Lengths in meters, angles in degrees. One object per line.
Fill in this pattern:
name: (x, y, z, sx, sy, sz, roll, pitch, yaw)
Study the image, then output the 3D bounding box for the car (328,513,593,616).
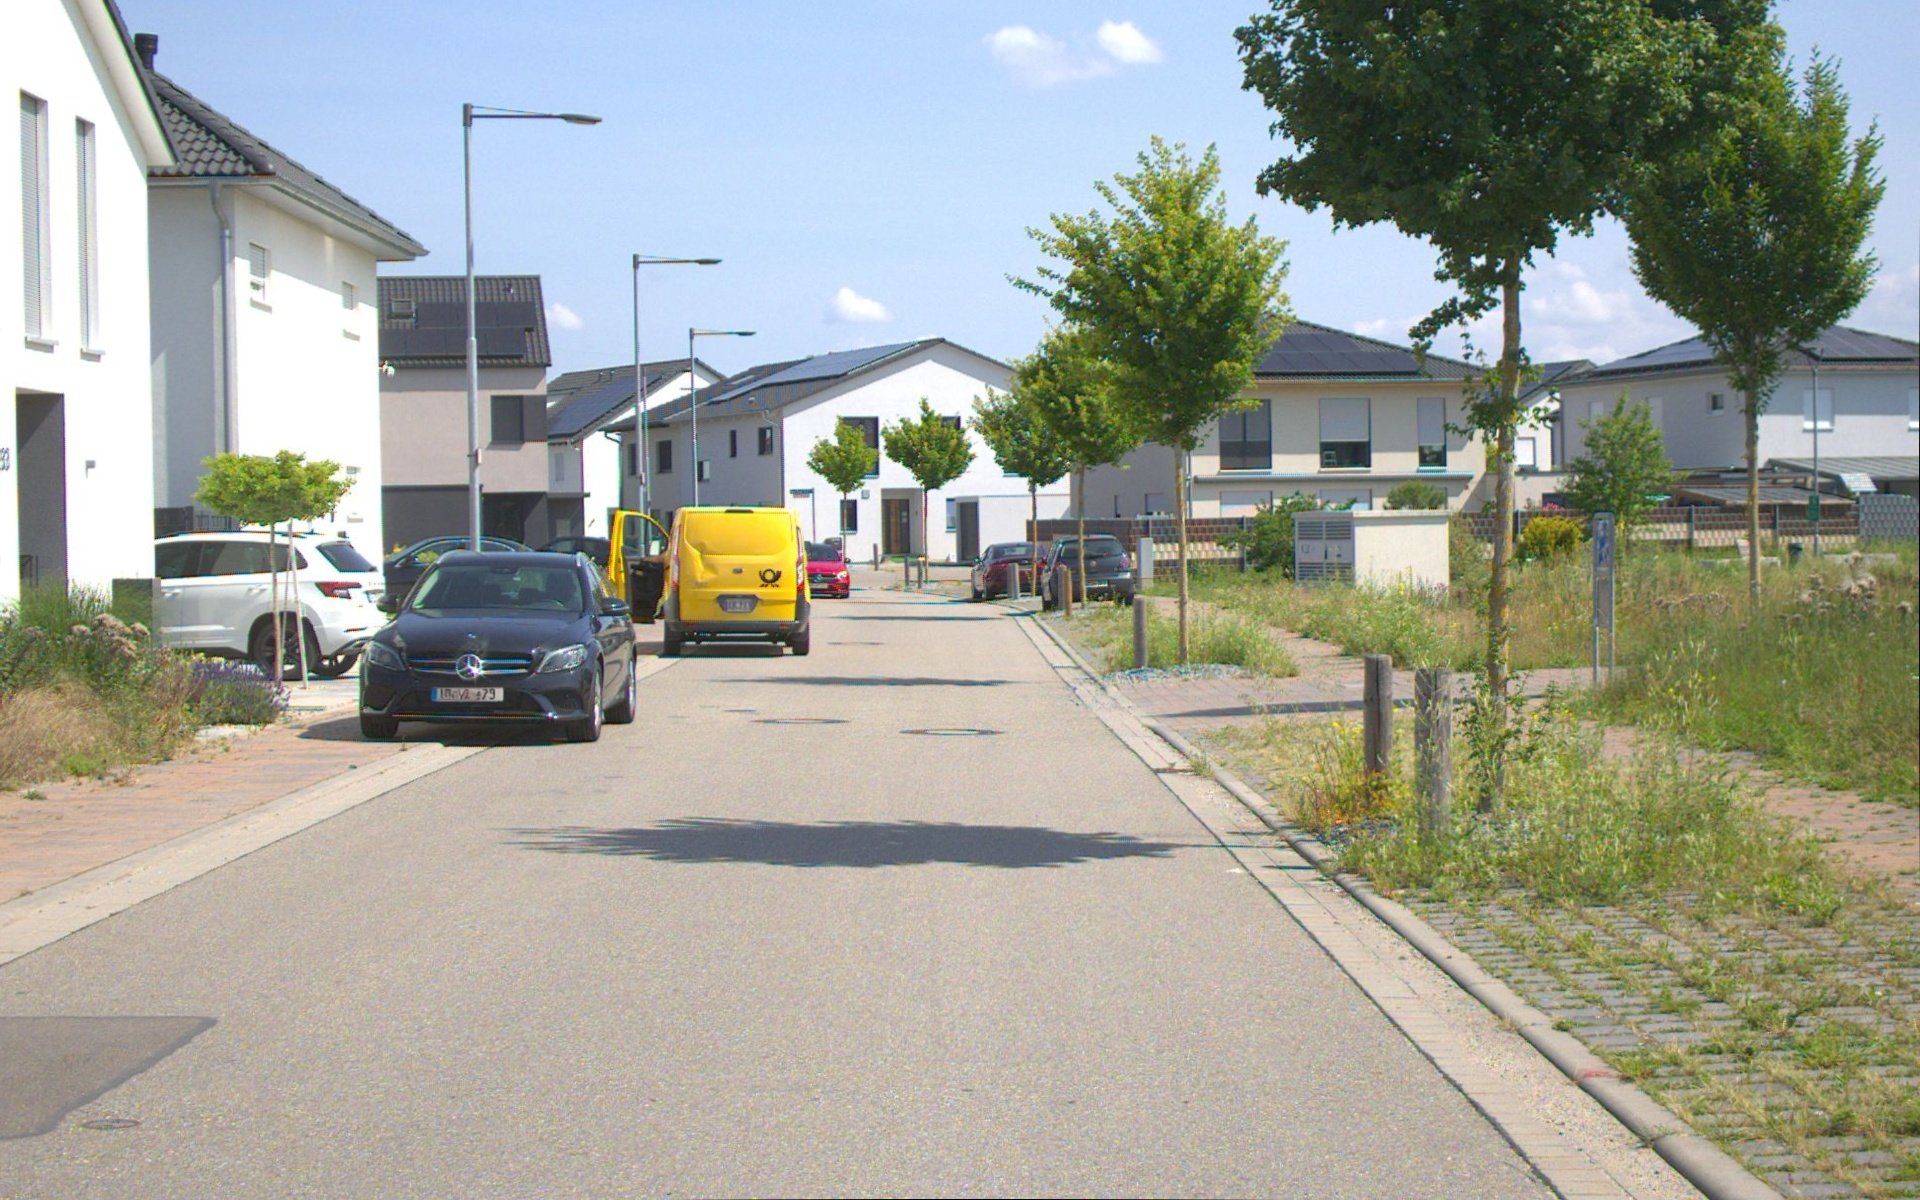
car: (-8.456, -0.599, 58.123, 4.159, 1.499, 1.816, 3, 0, -16)

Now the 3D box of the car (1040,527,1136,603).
car: (2.487, -0.669, 67.426, 1.639, 1.398, 3.811, -1, 0, -1)

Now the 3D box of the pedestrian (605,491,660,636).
pedestrian: (-4.614, -0.510, 48.450, 0.651, 2.007, 1.124, -1, 0, -1)

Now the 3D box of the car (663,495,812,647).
car: (-3.076, -0.388, 47.373, 1.941, 1.975, 4.218, -1, 0, -4)

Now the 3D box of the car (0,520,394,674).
car: (-8.438, -0.054, 37.752, 4.069, 1.576, 1.784, 1, 2, 6)

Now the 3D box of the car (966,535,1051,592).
car: (1.193, -0.898, 86.044, 1.627, 1.318, 3.834, -1, -1, -7)

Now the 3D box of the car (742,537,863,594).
car: (-4.165, -0.889, 90.182, 1.993, 1.427, 4.702, -1, 0, -17)

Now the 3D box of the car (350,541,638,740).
car: (-3.627, 0.265, 27.388, 1.745, 1.400, 4.160, 2, 1, -1)
